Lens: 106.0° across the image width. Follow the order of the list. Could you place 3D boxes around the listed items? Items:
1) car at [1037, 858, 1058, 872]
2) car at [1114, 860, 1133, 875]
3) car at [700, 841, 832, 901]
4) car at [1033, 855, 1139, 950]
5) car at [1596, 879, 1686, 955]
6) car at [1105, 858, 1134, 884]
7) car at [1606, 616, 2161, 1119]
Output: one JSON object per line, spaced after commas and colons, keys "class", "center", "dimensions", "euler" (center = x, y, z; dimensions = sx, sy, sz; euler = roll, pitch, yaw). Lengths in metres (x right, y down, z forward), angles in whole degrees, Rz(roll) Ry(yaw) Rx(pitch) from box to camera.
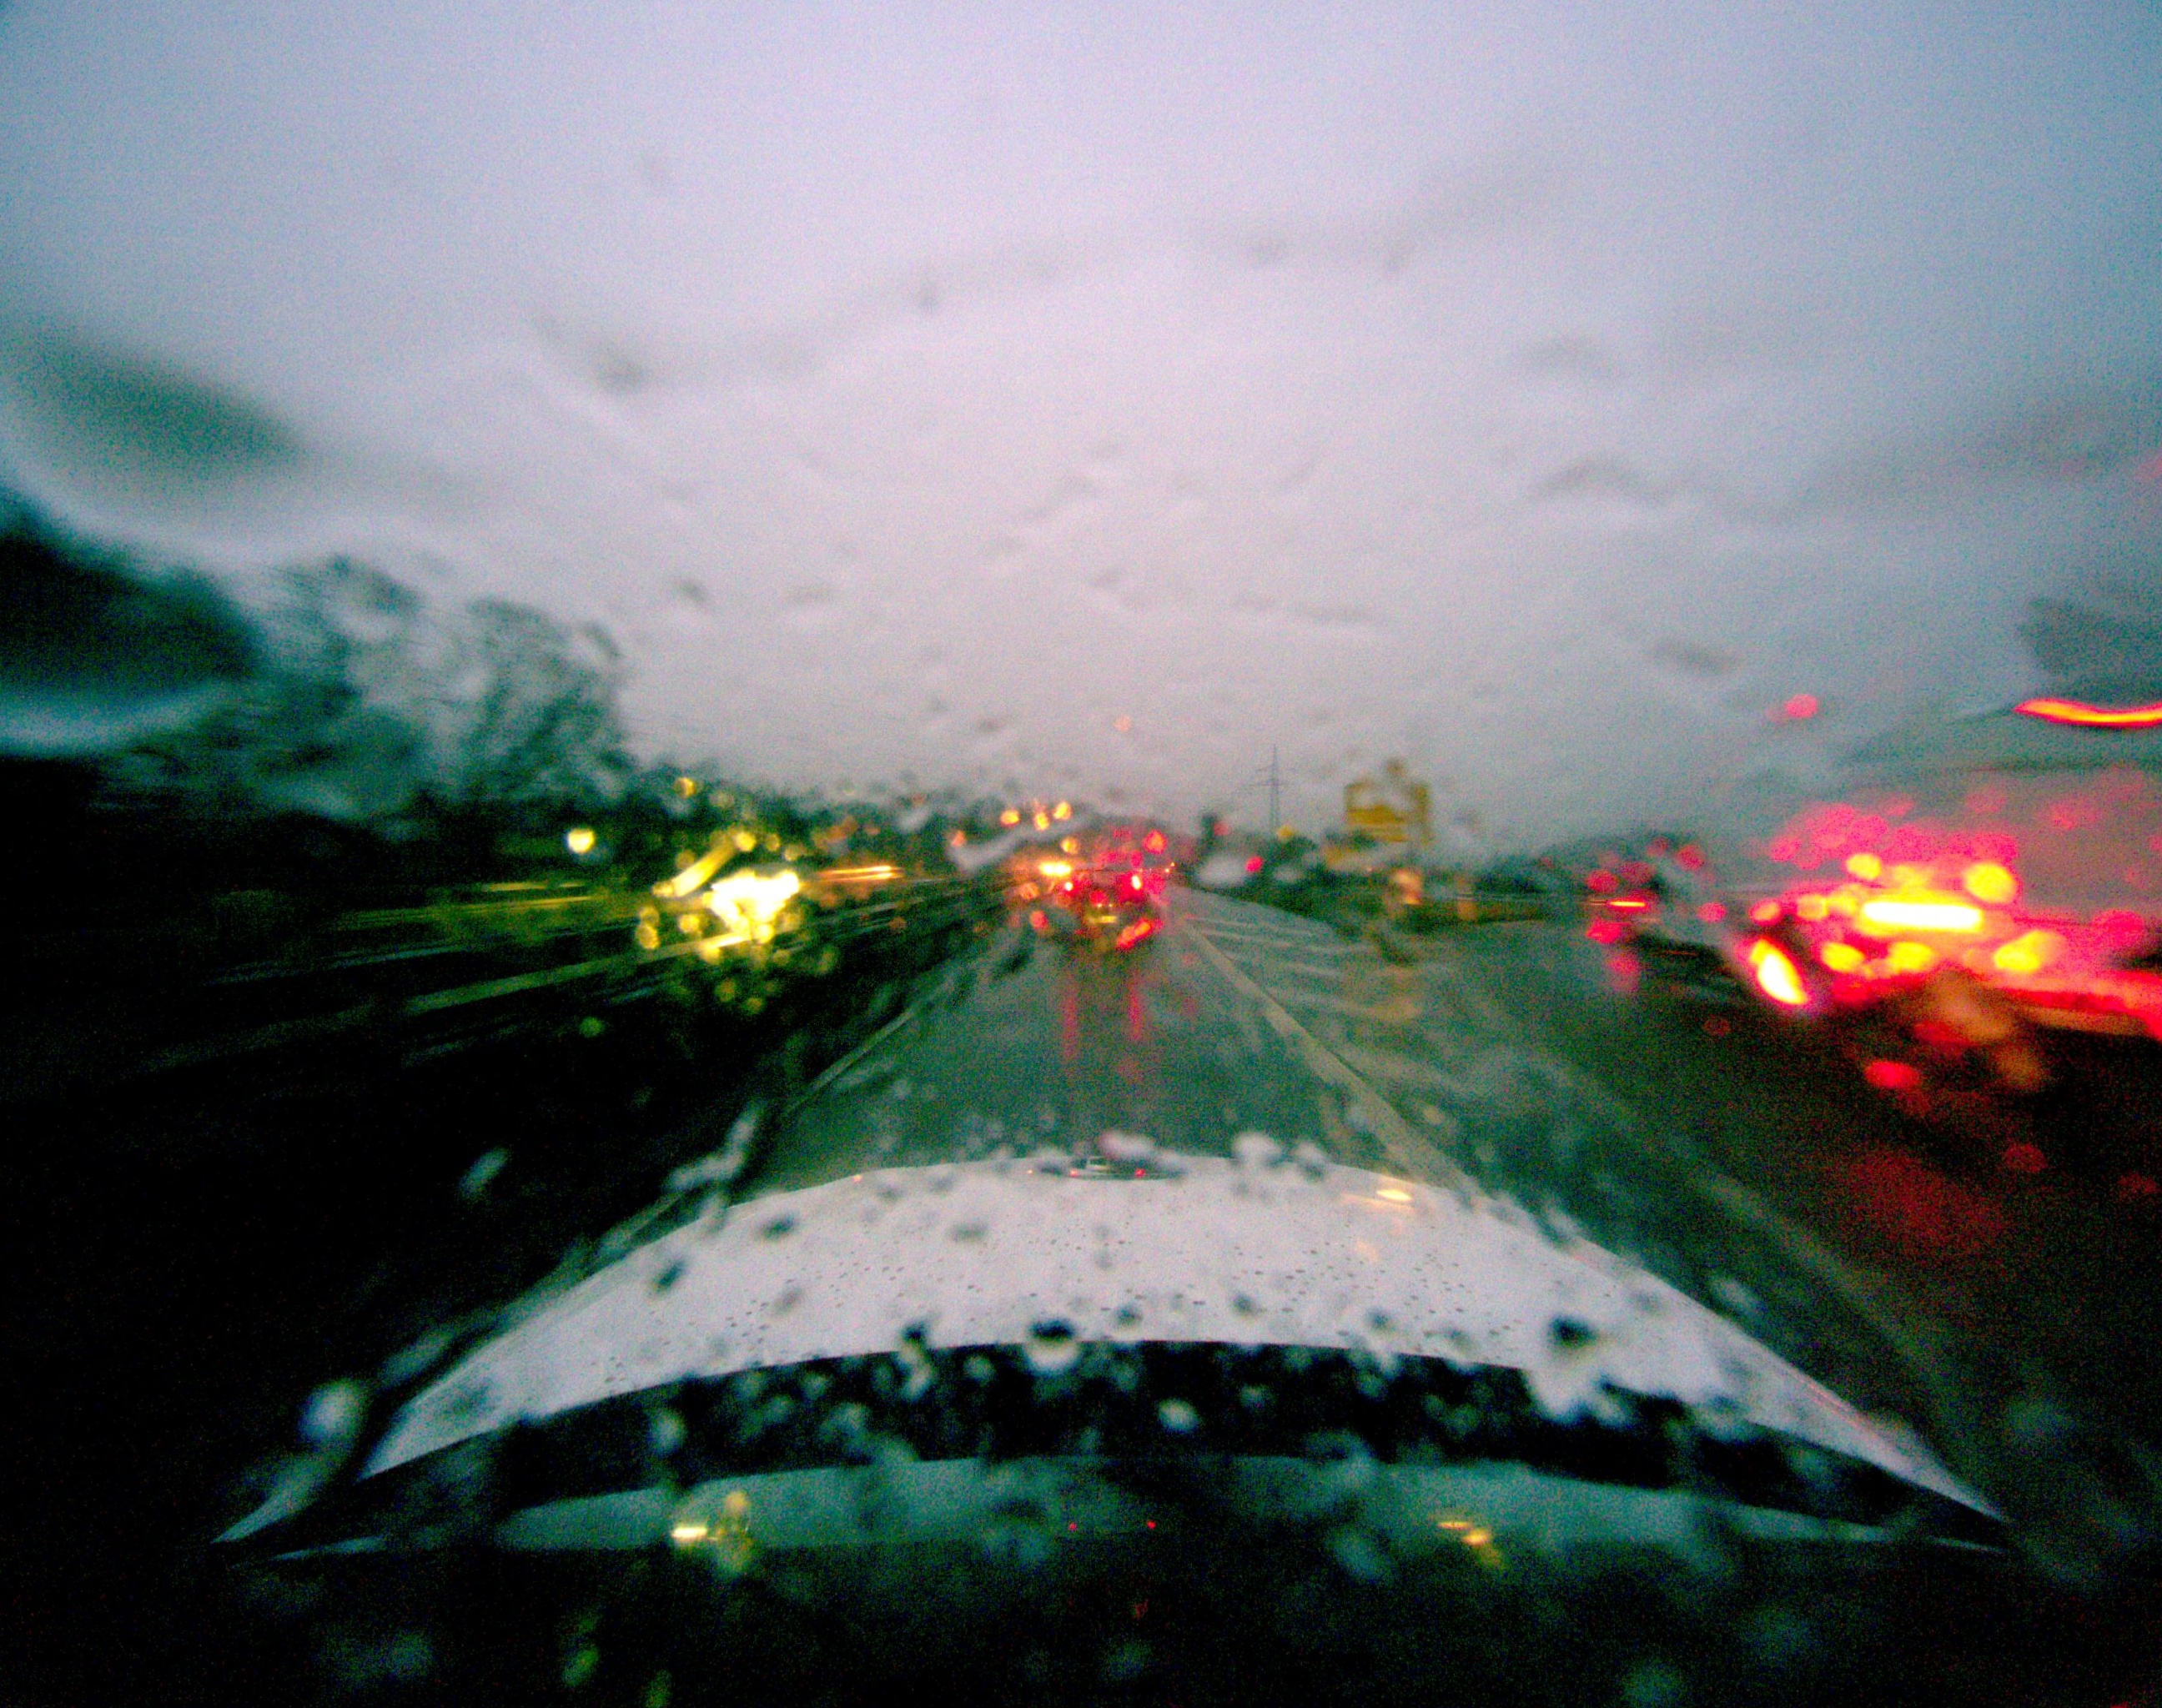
{"class": "car", "center": [-3.676, 1.268, 89.280], "dimensions": [1.986, 1.472, 4.473], "euler": [-1, -1, 1]}
{"class": "car", "center": [5.055, 1.578, 95.861], "dimensions": [1.936, 1.745, 4.007], "euler": [0, -1, 6]}
{"class": "car", "center": [-9.215, 0.430, 24.292], "dimensions": [2.086, 1.593, 4.479], "euler": [-1, 1, 1]}
{"class": "car", "center": [0.206, 0.843, 15.524], "dimensions": [1.723, 1.533, 4.045], "euler": [-1, -1, 3]}
{"class": "car", "center": [16.897, 1.778, 24.472], "dimensions": [1.974, 1.935, 4.938], "euler": [2, 0, 37]}
{"class": "car", "center": [2.810, 1.226, 59.664], "dimensions": [1.987, 1.814, 4.001], "euler": [0, 1, 1]}
{"class": "car", "center": [7.286, 0.067, 7.888], "dimensions": [2.263, 2.966, 6.422], "euler": [1, 1, 20]}
